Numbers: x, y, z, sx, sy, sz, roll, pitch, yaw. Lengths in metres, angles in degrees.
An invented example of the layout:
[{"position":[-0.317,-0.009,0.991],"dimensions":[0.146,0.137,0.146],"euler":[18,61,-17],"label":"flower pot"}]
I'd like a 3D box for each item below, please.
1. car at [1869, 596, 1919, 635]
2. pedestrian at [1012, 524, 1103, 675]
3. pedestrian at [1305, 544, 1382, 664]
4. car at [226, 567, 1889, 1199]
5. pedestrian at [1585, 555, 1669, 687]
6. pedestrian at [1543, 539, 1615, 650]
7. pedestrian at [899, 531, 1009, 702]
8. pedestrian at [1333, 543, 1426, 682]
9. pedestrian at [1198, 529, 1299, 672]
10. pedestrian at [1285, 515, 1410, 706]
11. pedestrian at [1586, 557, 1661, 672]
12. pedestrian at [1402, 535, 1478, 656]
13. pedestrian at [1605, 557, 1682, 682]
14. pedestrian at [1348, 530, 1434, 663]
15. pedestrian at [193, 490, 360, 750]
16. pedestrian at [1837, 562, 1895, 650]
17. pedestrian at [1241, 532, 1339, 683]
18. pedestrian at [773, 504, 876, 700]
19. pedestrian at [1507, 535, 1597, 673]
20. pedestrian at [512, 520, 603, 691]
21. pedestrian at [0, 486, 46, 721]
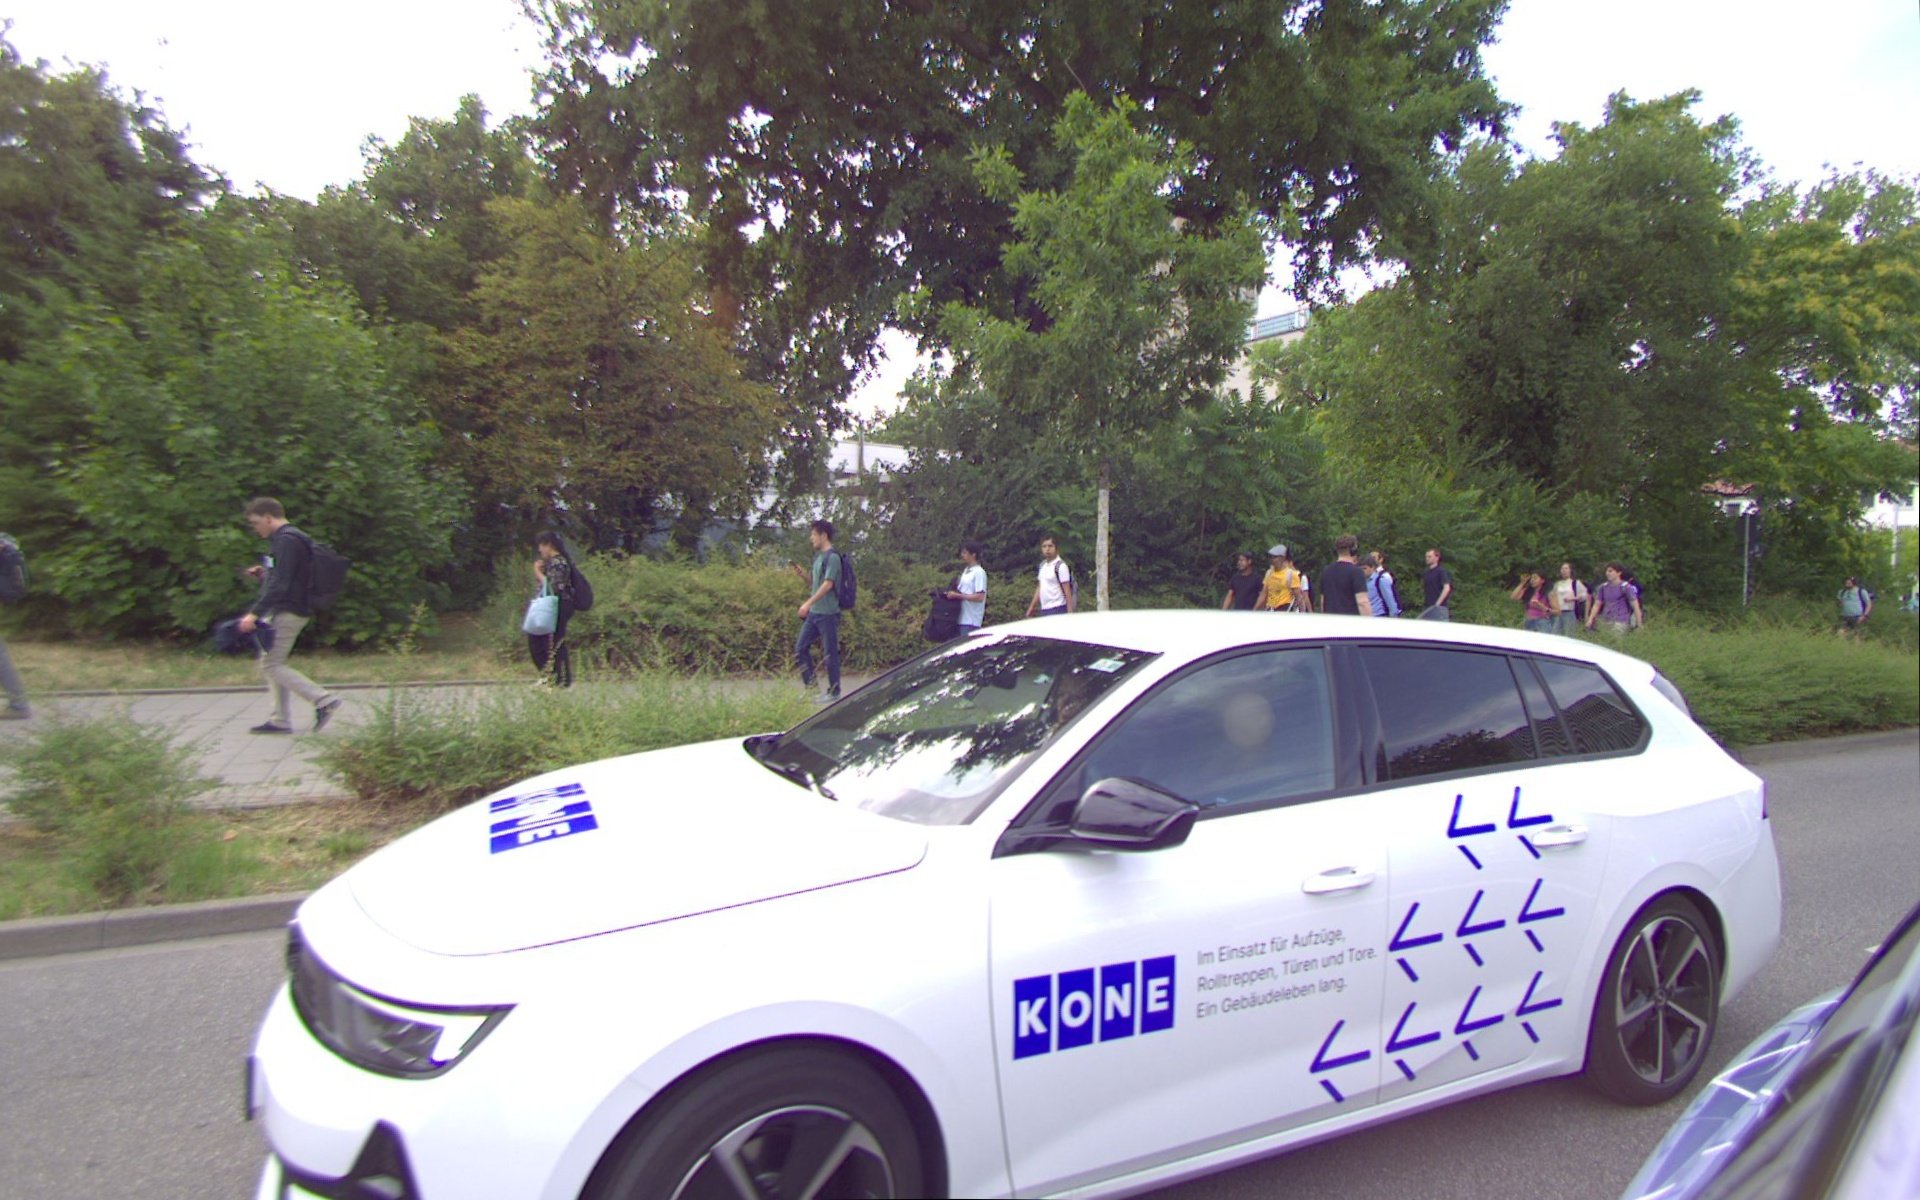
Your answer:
[{"position":[39.799,0.647,41.370],"dimensions":[1.641,1.510,3.588],"euler":[0,2,-29],"label":"car"},{"position":[1.186,-0.012,12.346],"dimensions":[0.795,1.766,0.725],"euler":[1,2,-26],"label":"pedestrian"},{"position":[5.627,0.046,14.871],"dimensions":[0.764,1.720,0.660],"euler":[1,2,-28],"label":"pedestrian"},{"position":[0.704,0.691,3.214],"dimensions":[4.684,1.456,1.749],"euler":[1,2,-27],"label":"car"},{"position":[9.214,0.274,13.987],"dimensions":[0.764,1.766,0.627],"euler":[1,2,-28],"label":"pedestrian"},{"position":[10.181,-0.096,16.662],"dimensions":[0.764,1.766,0.660],"euler":[1,2,-28],"label":"pedestrian"},{"position":[-0.071,0.145,10.132],"dimensions":[0.795,1.622,0.779],"euler":[1,2,-26],"label":"pedestrian"},{"position":[5.204,0.143,12.575],"dimensions":[0.796,1.668,0.660],"euler":[1,2,-28],"label":"pedestrian"},{"position":[3.549,-0.004,12.471],"dimensions":[0.951,1.687,0.660],"euler":[1,2,-28],"label":"pedestrian"},{"position":[3.957,0.084,10.409],"dimensions":[0.870,1.853,0.937],"euler":[2,1,1],"label":"pedestrian"},{"position":[10.536,0.216,16.079],"dimensions":[0.764,1.766,0.660],"euler":[1,2,-28],"label":"pedestrian"},{"position":[7.237,-0.078,15.272],"dimensions":[0.764,1.766,0.660],"euler":[1,2,-28],"label":"pedestrian"},{"position":[9.941,0.268,14.725],"dimensions":[0.773,1.766,0.584],"euler":[1,2,-28],"label":"pedestrian"},{"position":[6.023,-0.049,14.138],"dimensions":[0.938,1.789,0.659],"euler":[1,0,-28],"label":"pedestrian"},{"position":[-5.139,0.135,7.670],"dimensions":[0.934,1.843,0.696],"euler":[1,2,-26],"label":"pedestrian"},{"position":[19.083,0.113,21.315],"dimensions":[0.725,1.817,0.648],"euler":[1,1,-28],"label":"pedestrian"},{"position":[3.884,0.071,11.939],"dimensions":[0.825,1.710,0.660],"euler":[1,2,-28],"label":"pedestrian"},{"position":[-1.346,0.012,10.000],"dimensions":[0.795,1.843,0.659],"euler":[1,2,-26],"label":"pedestrian"},{"position":[7.811,0.038,13.363],"dimensions":[0.764,1.766,0.660],"euler":[1,2,-28],"label":"pedestrian"},{"position":[-3.973,0.041,9.970],"dimensions":[0.769,1.603,0.639],"euler":[1,2,-26],"label":"pedestrian"},{"position":[-7.580,0.018,7.815],"dimensions":[0.650,1.785,0.487],"euler":[1,2,-26],"label":"pedestrian"}]
